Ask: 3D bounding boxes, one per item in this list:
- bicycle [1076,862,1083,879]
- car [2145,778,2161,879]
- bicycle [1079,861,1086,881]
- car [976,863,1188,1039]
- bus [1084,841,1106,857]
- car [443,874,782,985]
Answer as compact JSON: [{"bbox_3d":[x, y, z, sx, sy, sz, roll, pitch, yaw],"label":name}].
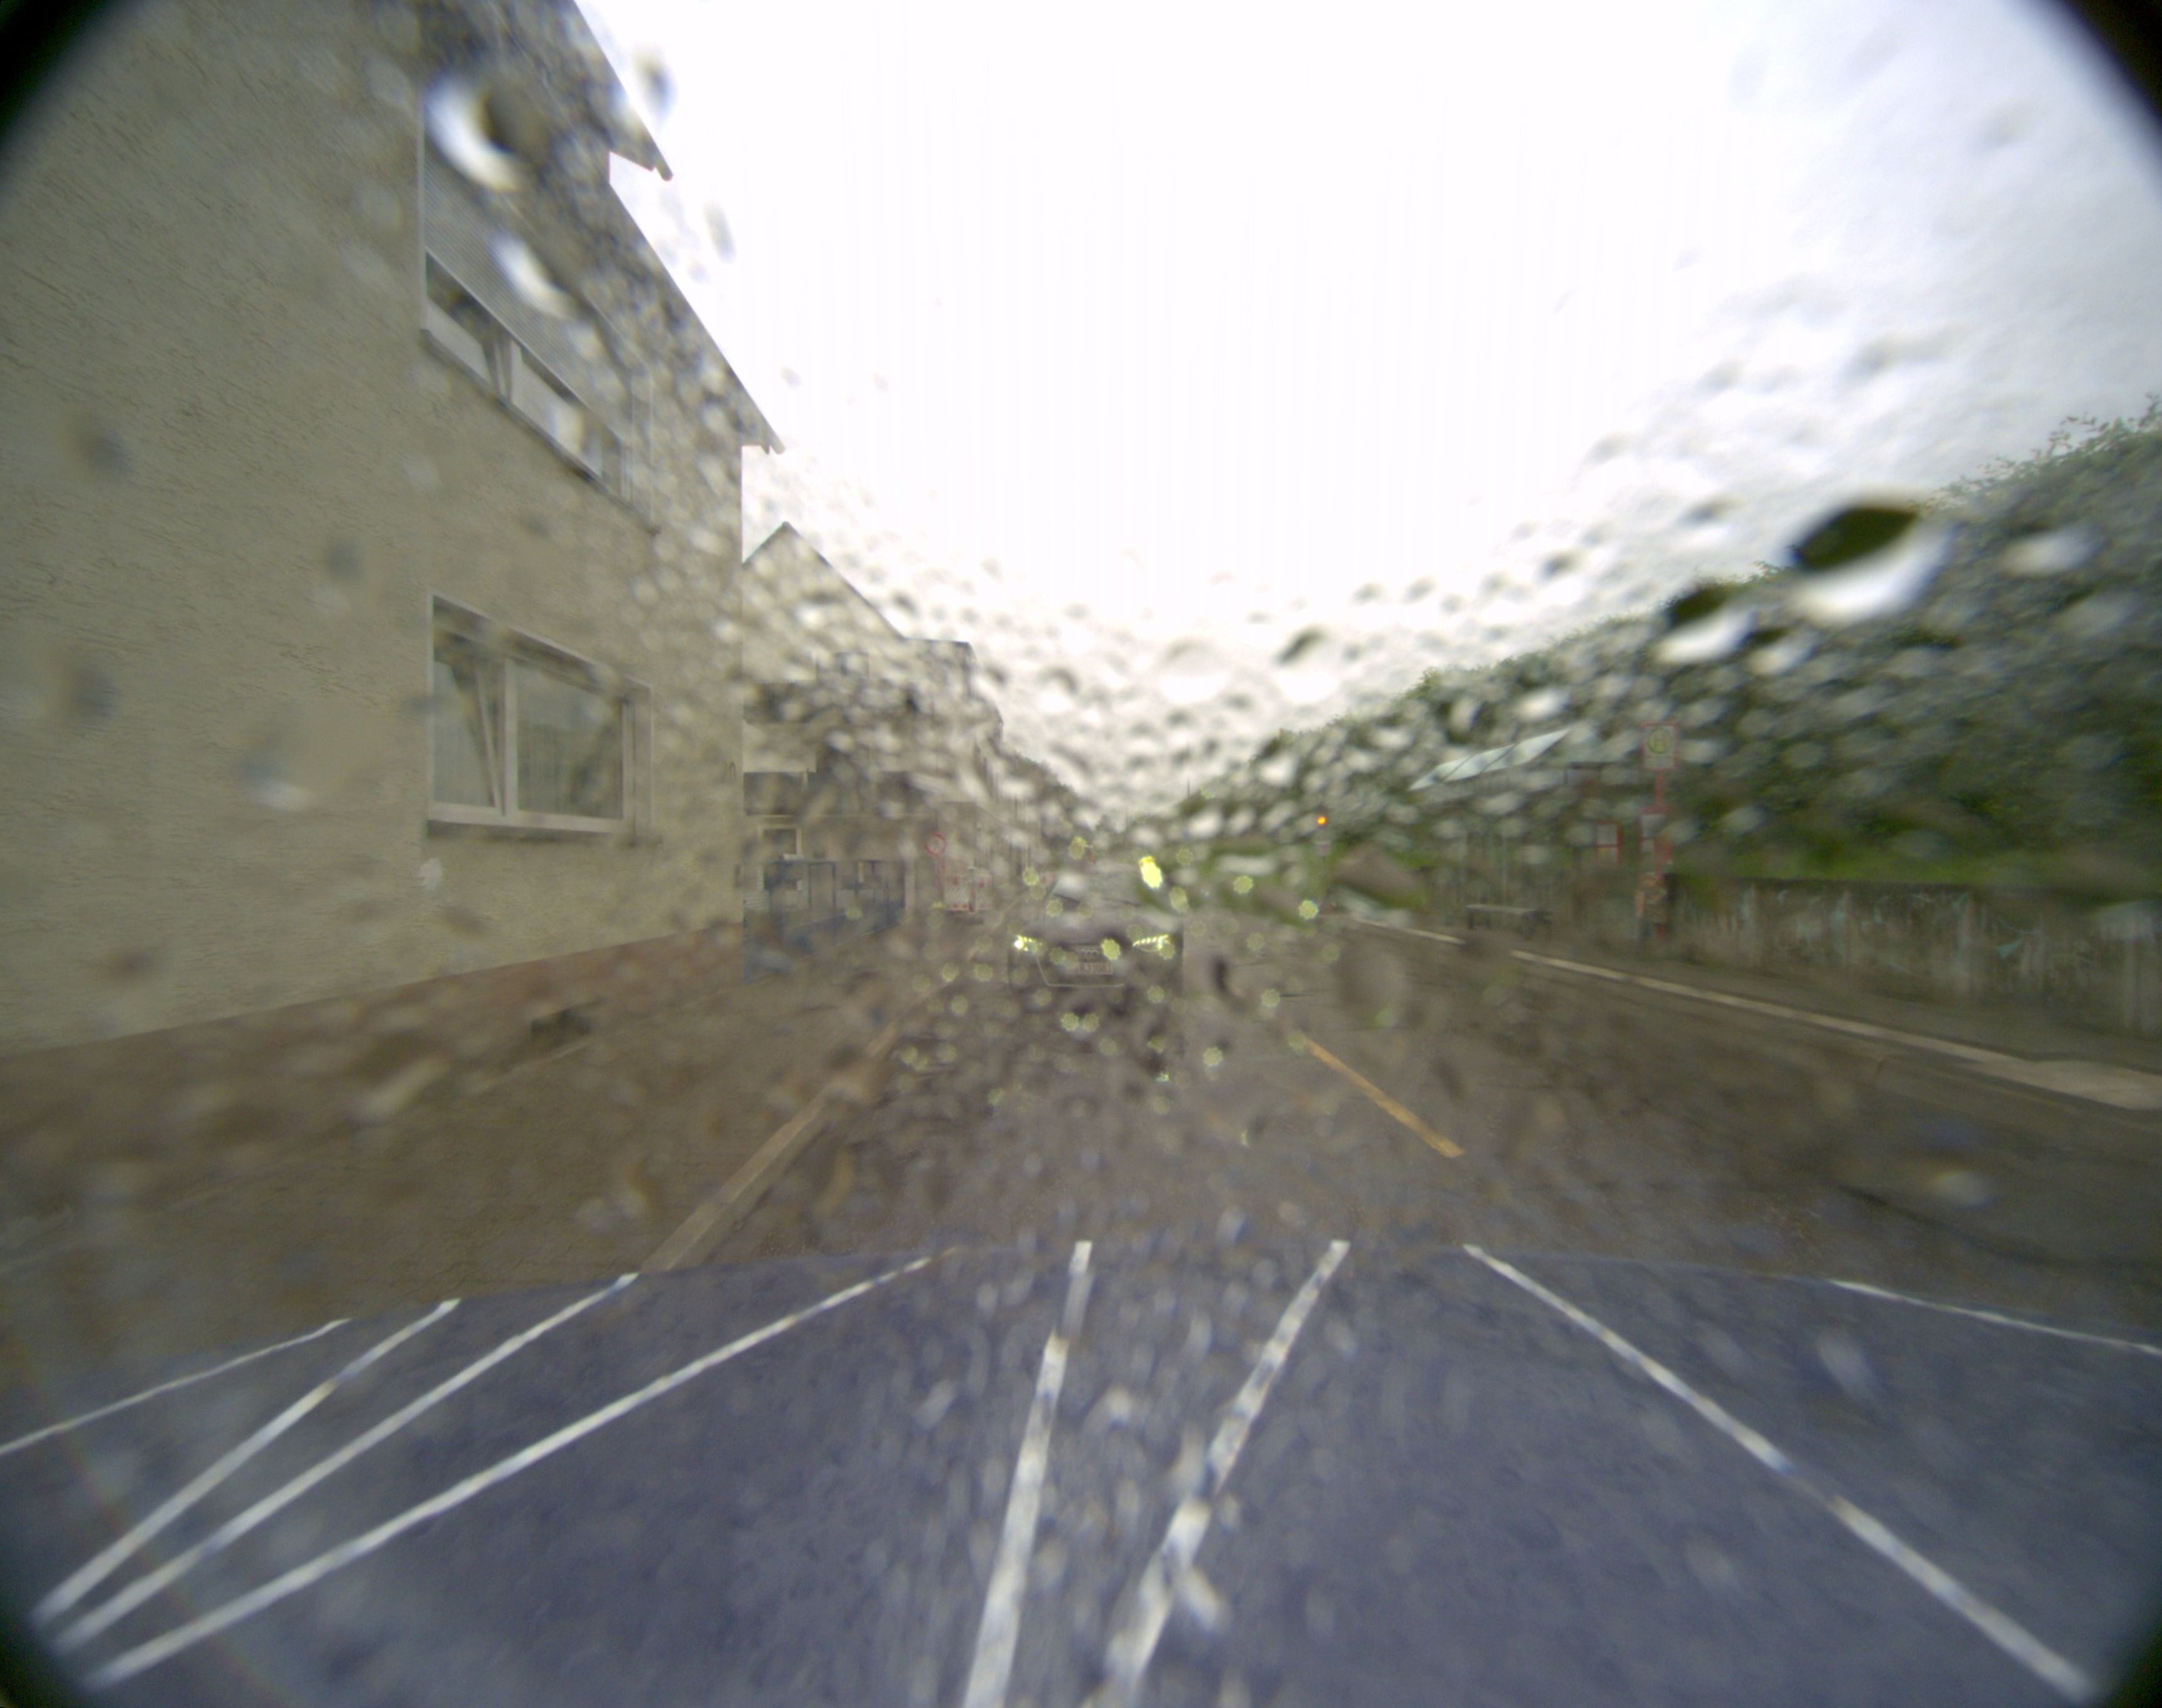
[{"bbox_3d":[-0.073,1.015,46.907,0.407,1.023,1.221,1,1,1],"label":"bicycle"},{"bbox_3d":[15.643,-0.279,8.407,1.749,1.382,4.220,-2,3,-1],"label":"car"},{"bbox_3d":[0.102,0.988,44.661,0.407,1.137,1.221,1,1,1],"label":"bicycle"},{"bbox_3d":[0.306,0.893,9.148,1.850,1.444,4.534,1,1,9],"label":"car"},{"bbox_3d":[2.805,-0.997,145.029,2.683,2.987,14.552,1,1,7],"label":"bus"},{"bbox_3d":[-7.294,1.141,12.208,4.155,1.294,1.912,-4,1,-1],"label":"car"}]
